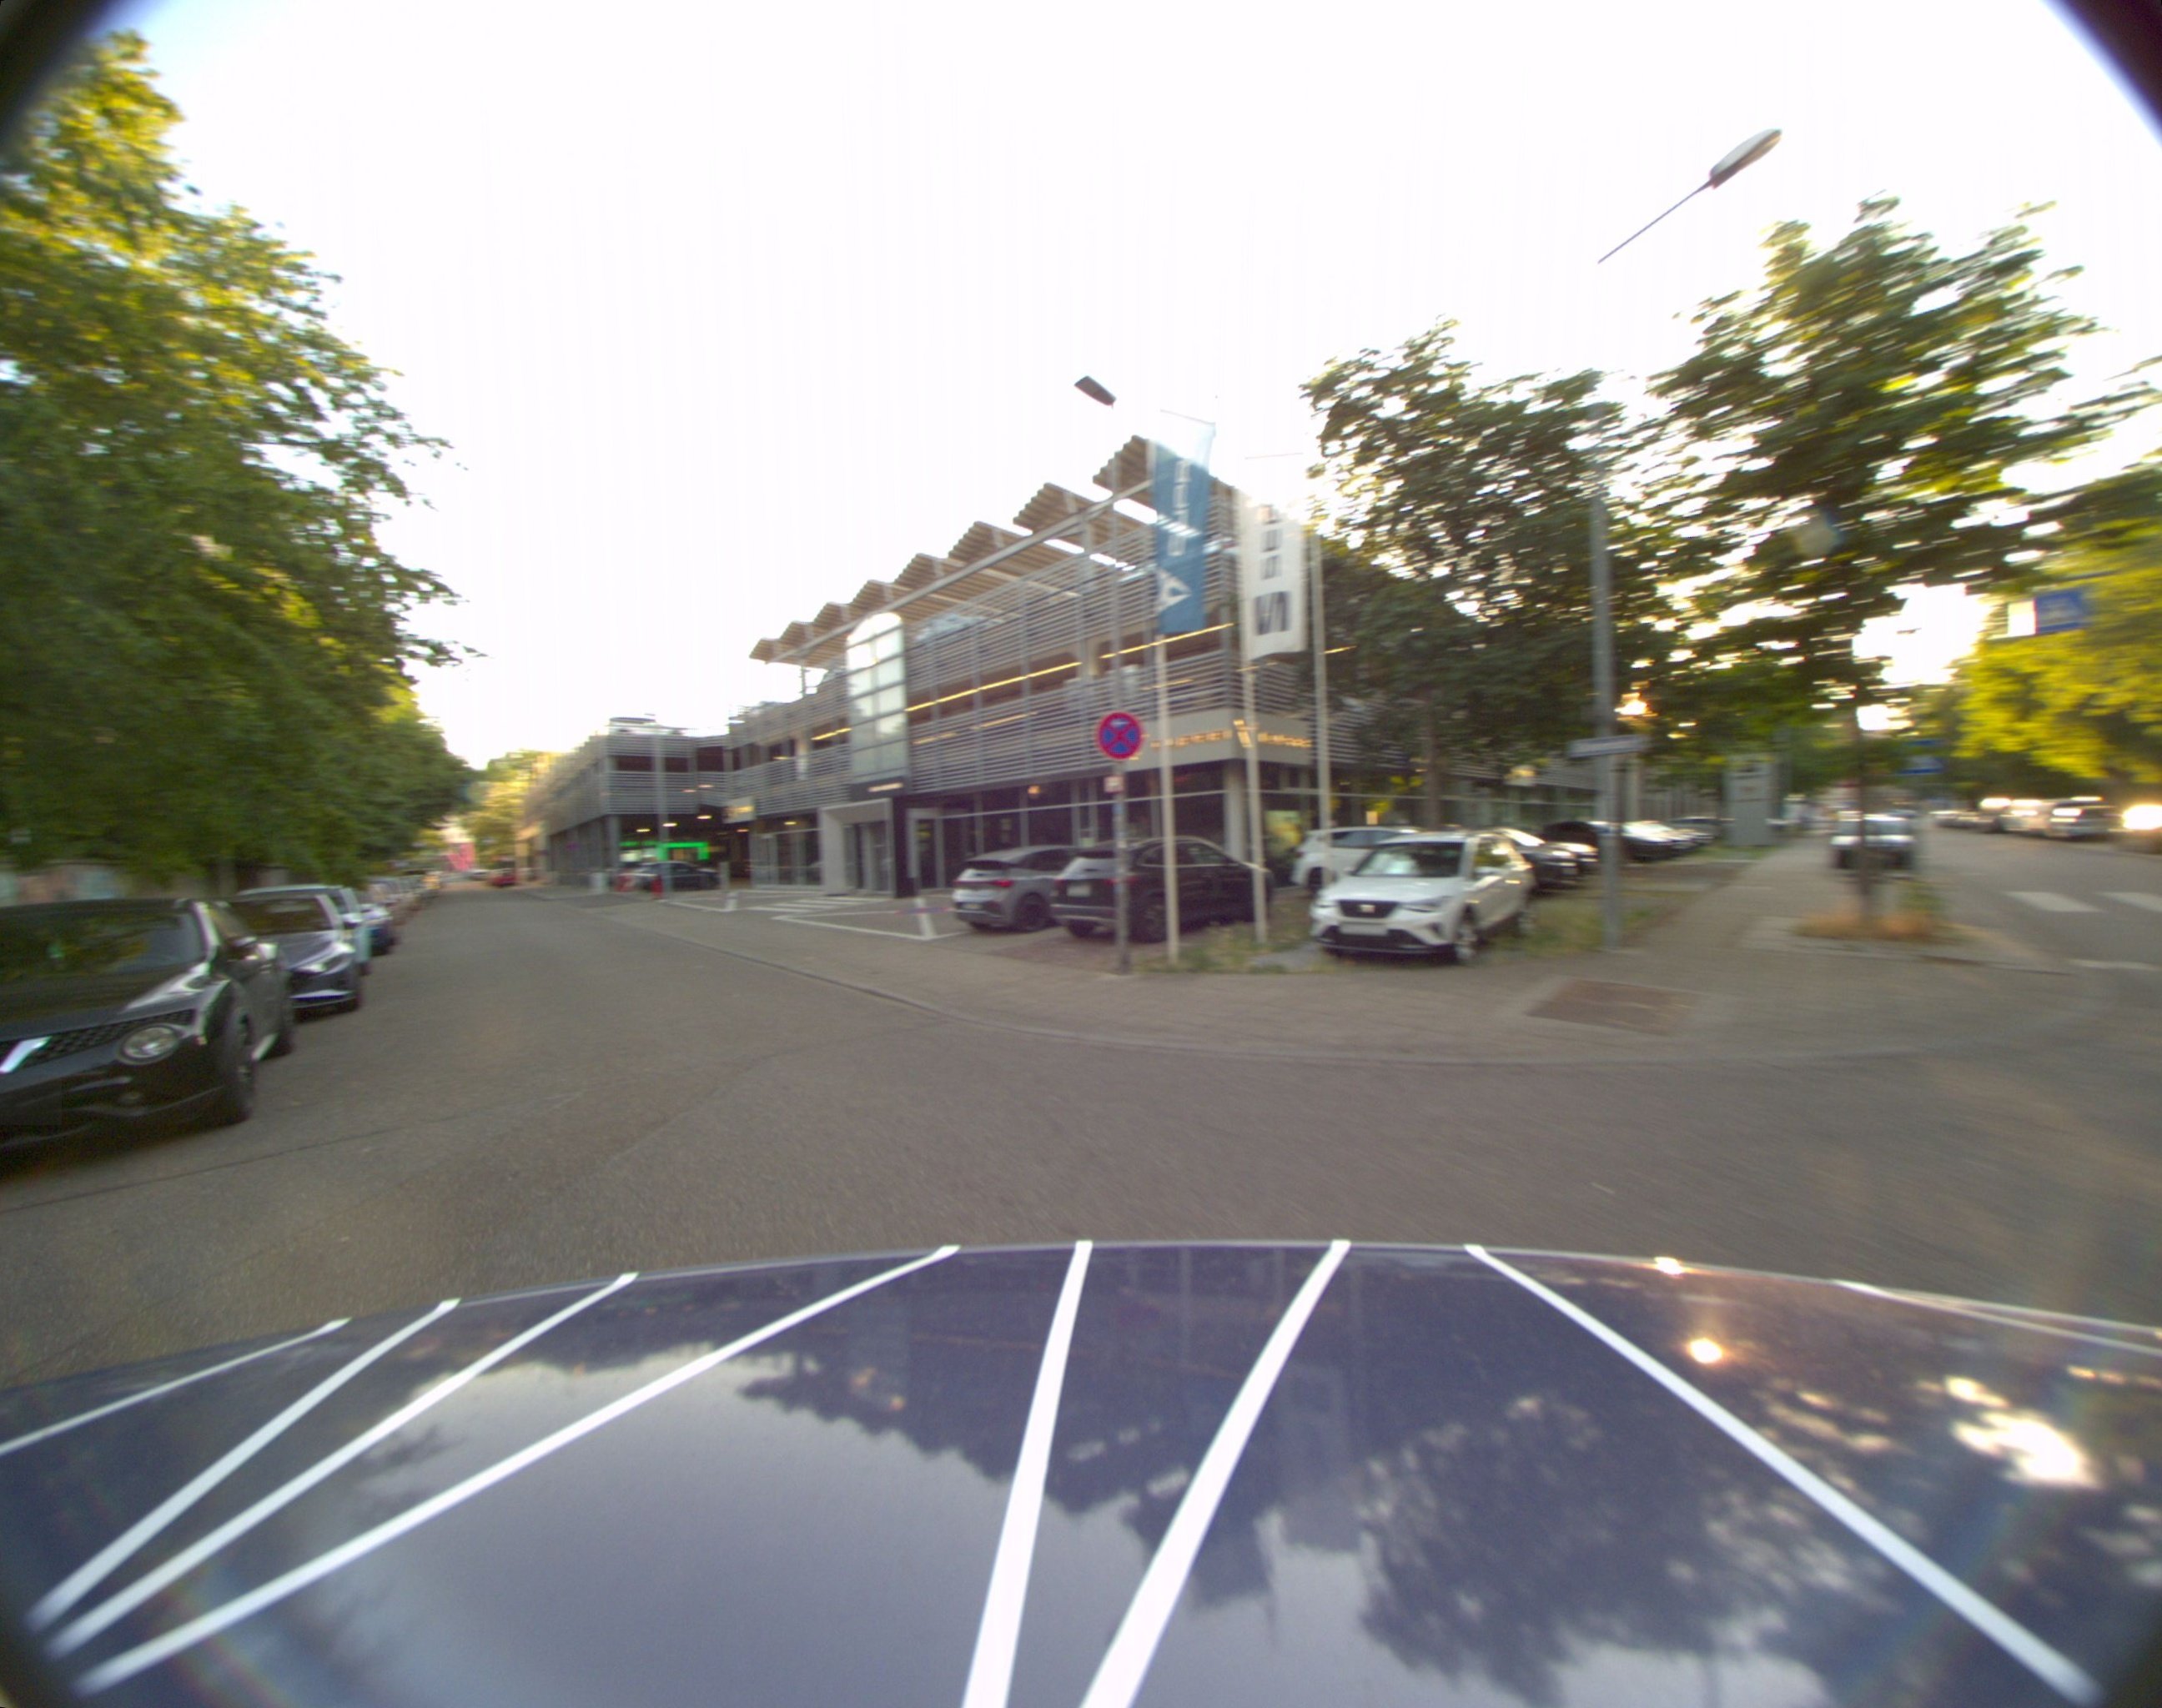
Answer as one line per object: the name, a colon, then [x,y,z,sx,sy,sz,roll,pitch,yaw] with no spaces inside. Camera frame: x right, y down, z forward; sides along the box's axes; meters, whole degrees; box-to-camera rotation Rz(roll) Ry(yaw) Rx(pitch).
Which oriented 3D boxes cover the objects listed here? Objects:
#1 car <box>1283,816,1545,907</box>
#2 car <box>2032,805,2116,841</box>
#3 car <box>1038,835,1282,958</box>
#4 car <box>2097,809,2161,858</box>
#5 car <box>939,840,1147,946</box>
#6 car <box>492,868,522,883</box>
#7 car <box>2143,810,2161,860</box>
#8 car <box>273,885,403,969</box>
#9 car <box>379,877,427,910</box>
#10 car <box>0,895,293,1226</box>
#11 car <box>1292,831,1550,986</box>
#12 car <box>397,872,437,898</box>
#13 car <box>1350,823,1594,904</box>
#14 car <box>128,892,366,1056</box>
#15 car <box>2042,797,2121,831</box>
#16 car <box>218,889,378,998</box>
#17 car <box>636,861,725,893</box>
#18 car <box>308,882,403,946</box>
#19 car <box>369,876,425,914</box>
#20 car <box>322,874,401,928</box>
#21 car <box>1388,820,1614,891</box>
car: [6.781,0.167,15.839,4.579,1.634,1.876,-2,1,45]
car: [44.121,-1.376,33.842,1.613,1.433,4.113,-3,0,43]
car: [1.466,0.588,12.864,4.134,1.596,1.713,-4,2,-42]
car: [34.786,-0.705,24.556,1.613,1.433,4.113,-3,0,43]
car: [-0.666,0.671,14.942,3.699,1.583,1.702,-6,3,-40]
car: [-52.096,1.937,68.935,1.880,1.279,3.392,-2,1,-43]
car: [31.392,-0.554,20.943,1.613,1.433,4.319,-3,0,43]
car: [-15.805,1.450,16.347,1.636,1.426,4.118,-2,1,-40]
car: [-32.980,1.880,37.031,1.636,1.446,3.755,-2,1,-40]
car: [-6.987,1.183,5.322,1.636,1.537,3.932,-4,2,-41]
car: [4.539,0.535,9.838,1.763,1.563,3.909,-1,1,45]
car: [-39.887,1.836,45.697,1.636,1.446,3.756,-2,1,-39]
car: [8.795,0.225,17.393,4.579,1.607,1.876,-2,1,45]
car: [-9.957,1.269,9.350,1.636,1.426,3.774,-2,1,-43]
car: [47.765,-1.907,36.357,1.613,1.433,4.113,-3,0,43]
car: [-12.955,1.369,12.751,1.636,1.426,3.676,-2,0,-43]
car: [-21.699,1.190,41.231,3.934,1.558,1.628,-2,1,-40]
car: [-19.511,1.543,20.578,1.636,1.426,4.118,-2,1,-41]
car: [-29.936,1.757,33.345,1.636,1.446,3.756,-2,1,-40]
car: [-23.594,1.473,25.031,1.636,1.558,4.118,-2,1,-40]
car: [10.393,0.067,19.037,4.579,1.563,1.876,-2,1,45]
